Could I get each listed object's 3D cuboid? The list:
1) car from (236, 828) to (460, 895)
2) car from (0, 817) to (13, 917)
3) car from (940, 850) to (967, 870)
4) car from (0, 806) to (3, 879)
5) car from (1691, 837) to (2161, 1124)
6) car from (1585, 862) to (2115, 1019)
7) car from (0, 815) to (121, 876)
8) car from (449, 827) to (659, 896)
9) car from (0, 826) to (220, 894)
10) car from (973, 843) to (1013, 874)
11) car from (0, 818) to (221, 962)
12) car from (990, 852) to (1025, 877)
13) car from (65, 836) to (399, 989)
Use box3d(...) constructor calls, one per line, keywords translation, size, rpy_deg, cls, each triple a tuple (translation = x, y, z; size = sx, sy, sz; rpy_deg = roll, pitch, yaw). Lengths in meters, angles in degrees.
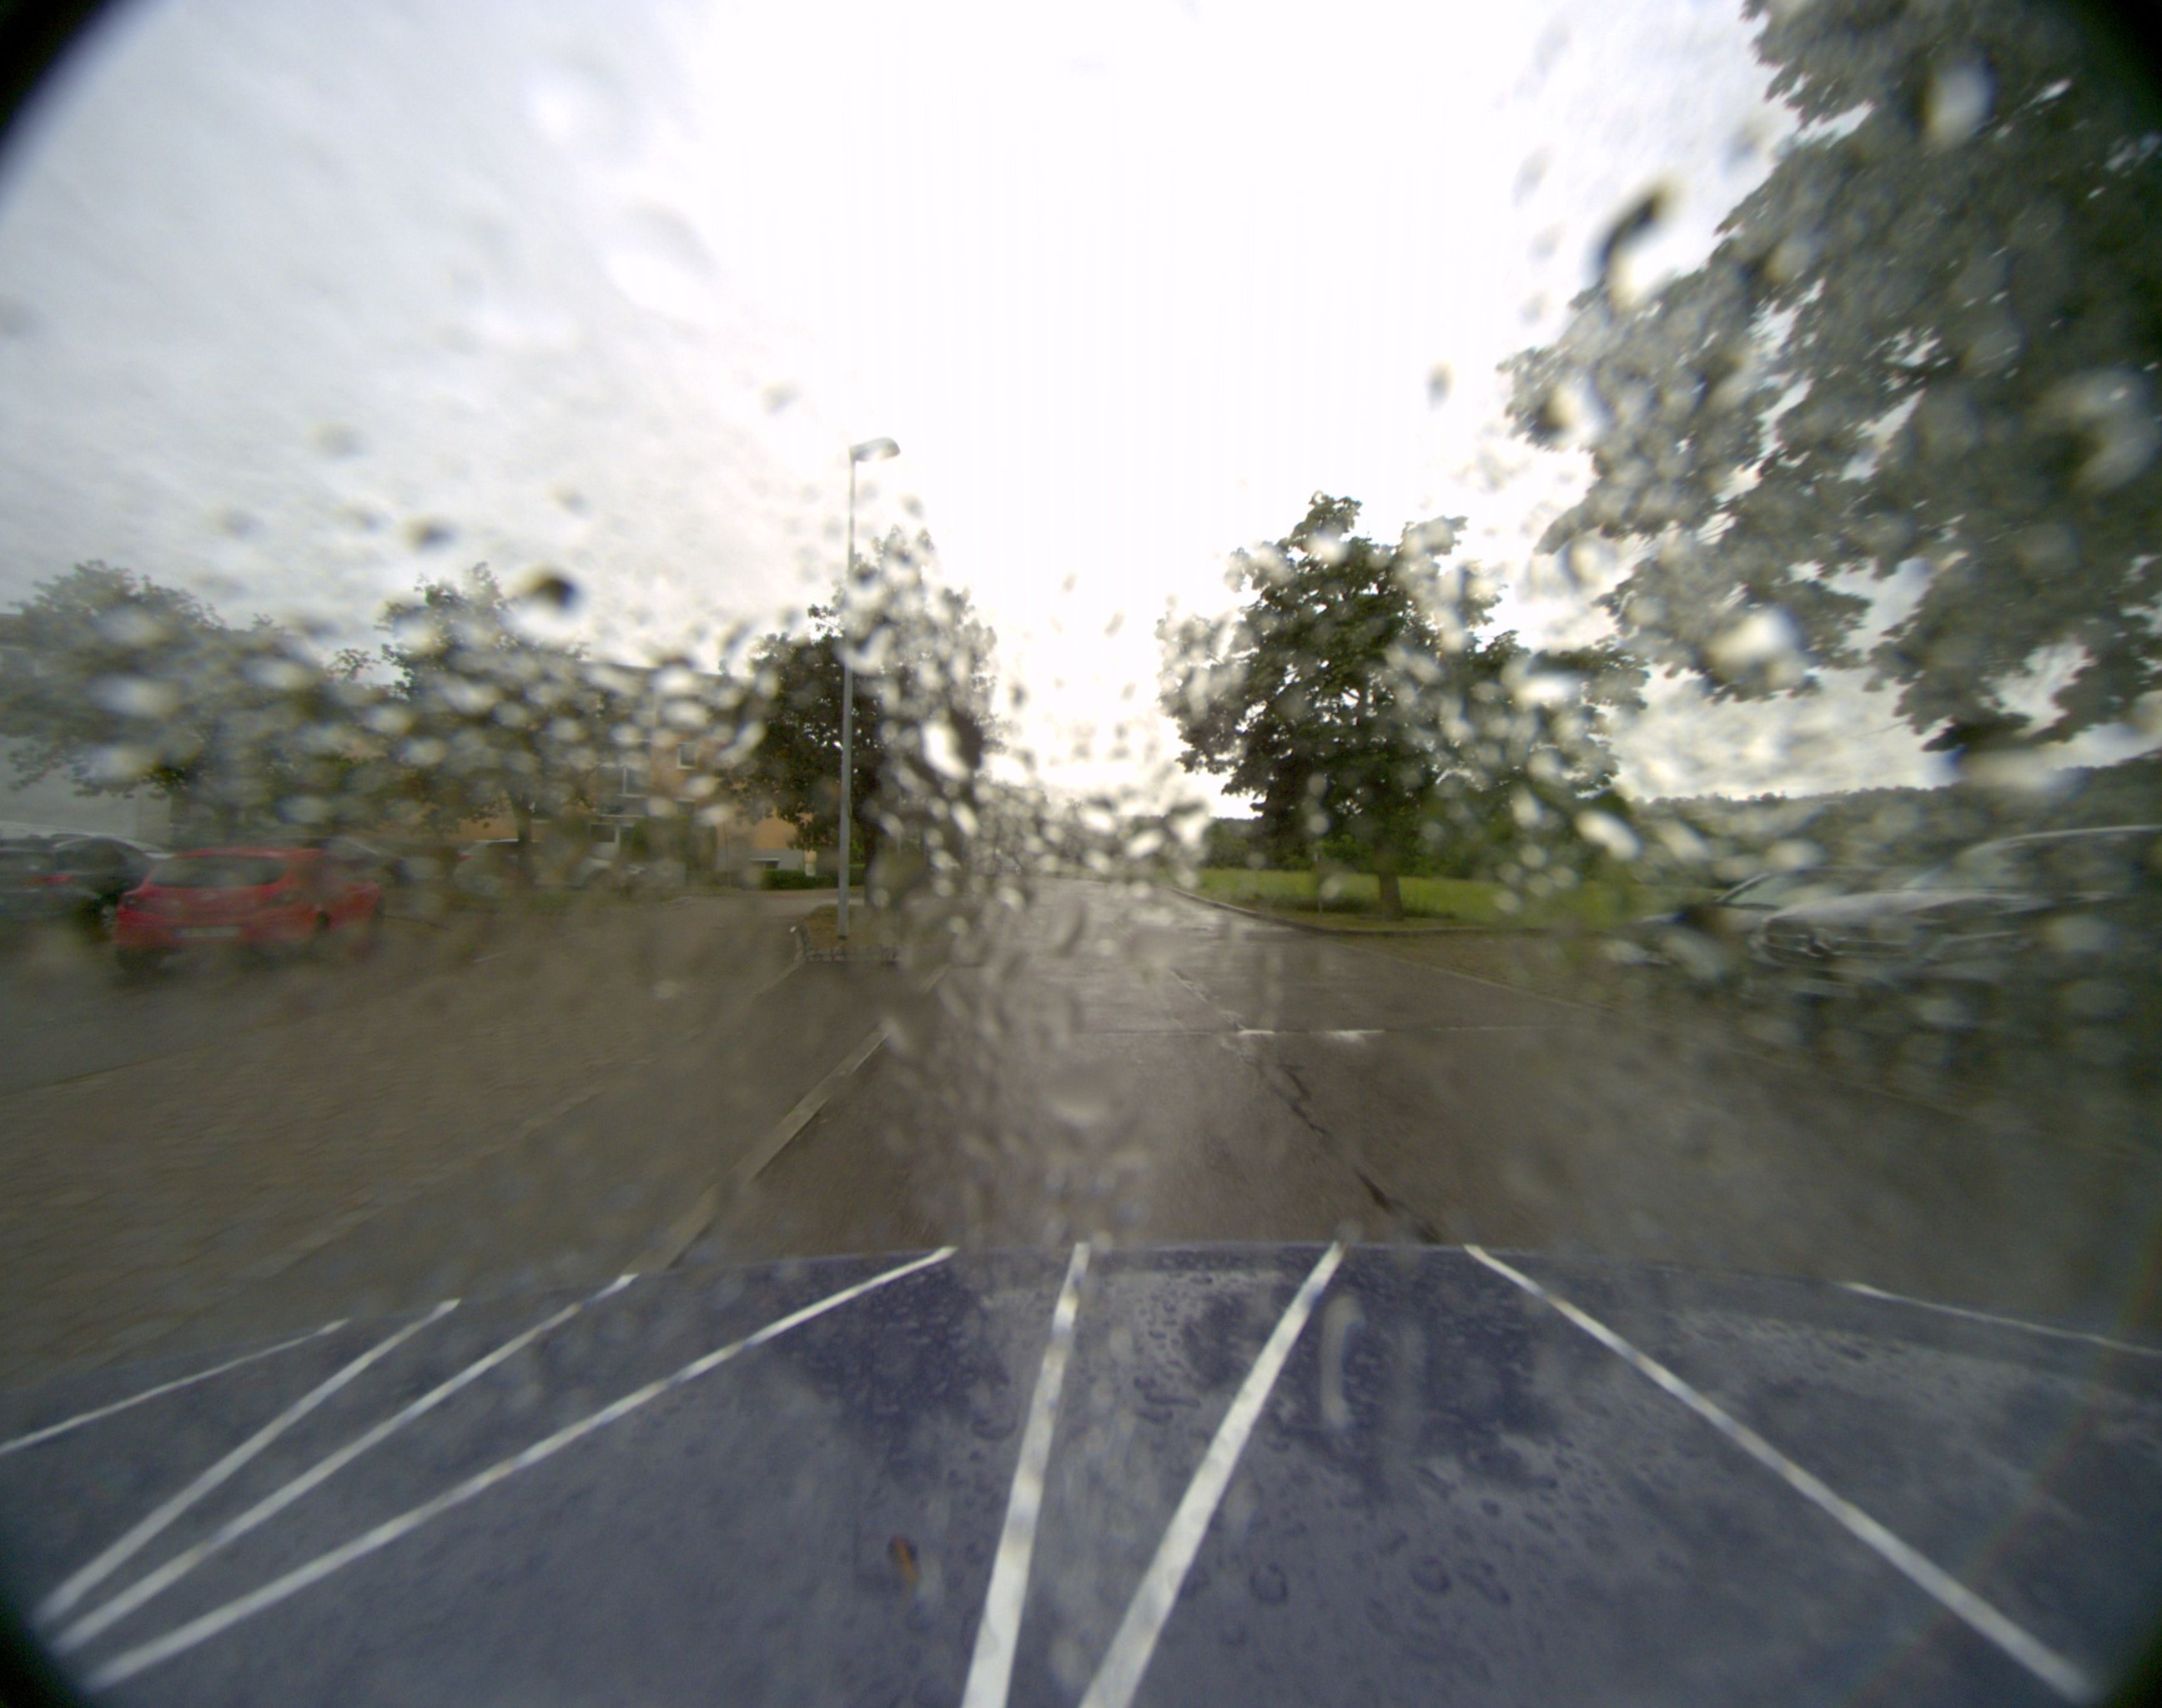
box3d(translation=(-20.255, 0.229, 21.240), size=(4.023, 1.722, 1.953), rpy_deg=(0, -1, -18), cls="car")
box3d(translation=(-19.071, 0.359, 11.552), size=(1.862, 1.789, 4.446), rpy_deg=(-3, 4, -36), cls="car")
box3d(translation=(-12.644, 0.579, 75.230), size=(1.827, 1.775, 3.811), rpy_deg=(0, 1, -24), cls="car")
box3d(translation=(-30.335, -0.336, 18.529), size=(4.425, 1.917, 1.929), rpy_deg=(0, -1, -16), cls="car")
box3d(translation=(7.497, 0.763, 5.579), size=(4.379, 1.712, 2.044), rpy_deg=(1, 1, -1), cls="car")
box3d(translation=(8.152, 0.839, 8.306), size=(4.225, 1.423, 1.773), rpy_deg=(0, 1, -5), cls="car")
box3d(translation=(-36.874, -0.299, 26.632), size=(2.001, 2.002, 3.994), rpy_deg=(2, 0, -15), cls="car")
box3d(translation=(-15.408, 0.228, 22.540), size=(4.718, 1.804, 1.944), rpy_deg=(2, 0, -17), cls="car")
box3d(translation=(-25.590, 0.147, 19.767), size=(3.833, 1.658, 1.832), rpy_deg=(0, 0, -16), cls="car")
box3d(translation=(-7.151, 0.361, 61.078), size=(2.056, 2.317, 5.398), rpy_deg=(0, 0, -19), cls="car")
box3d(translation=(-15.602, 0.398, 11.773), size=(1.862, 1.576, 4.815), rpy_deg=(0, 6, -34), cls="car")
box3d(translation=(-5.398, 0.741, 55.326), size=(1.818, 1.717, 4.645), rpy_deg=(0, 1, -15), cls="car")
box3d(translation=(-11.512, 0.608, 10.767), size=(1.861, 1.576, 4.314), rpy_deg=(0, 3, -30), cls="car")
